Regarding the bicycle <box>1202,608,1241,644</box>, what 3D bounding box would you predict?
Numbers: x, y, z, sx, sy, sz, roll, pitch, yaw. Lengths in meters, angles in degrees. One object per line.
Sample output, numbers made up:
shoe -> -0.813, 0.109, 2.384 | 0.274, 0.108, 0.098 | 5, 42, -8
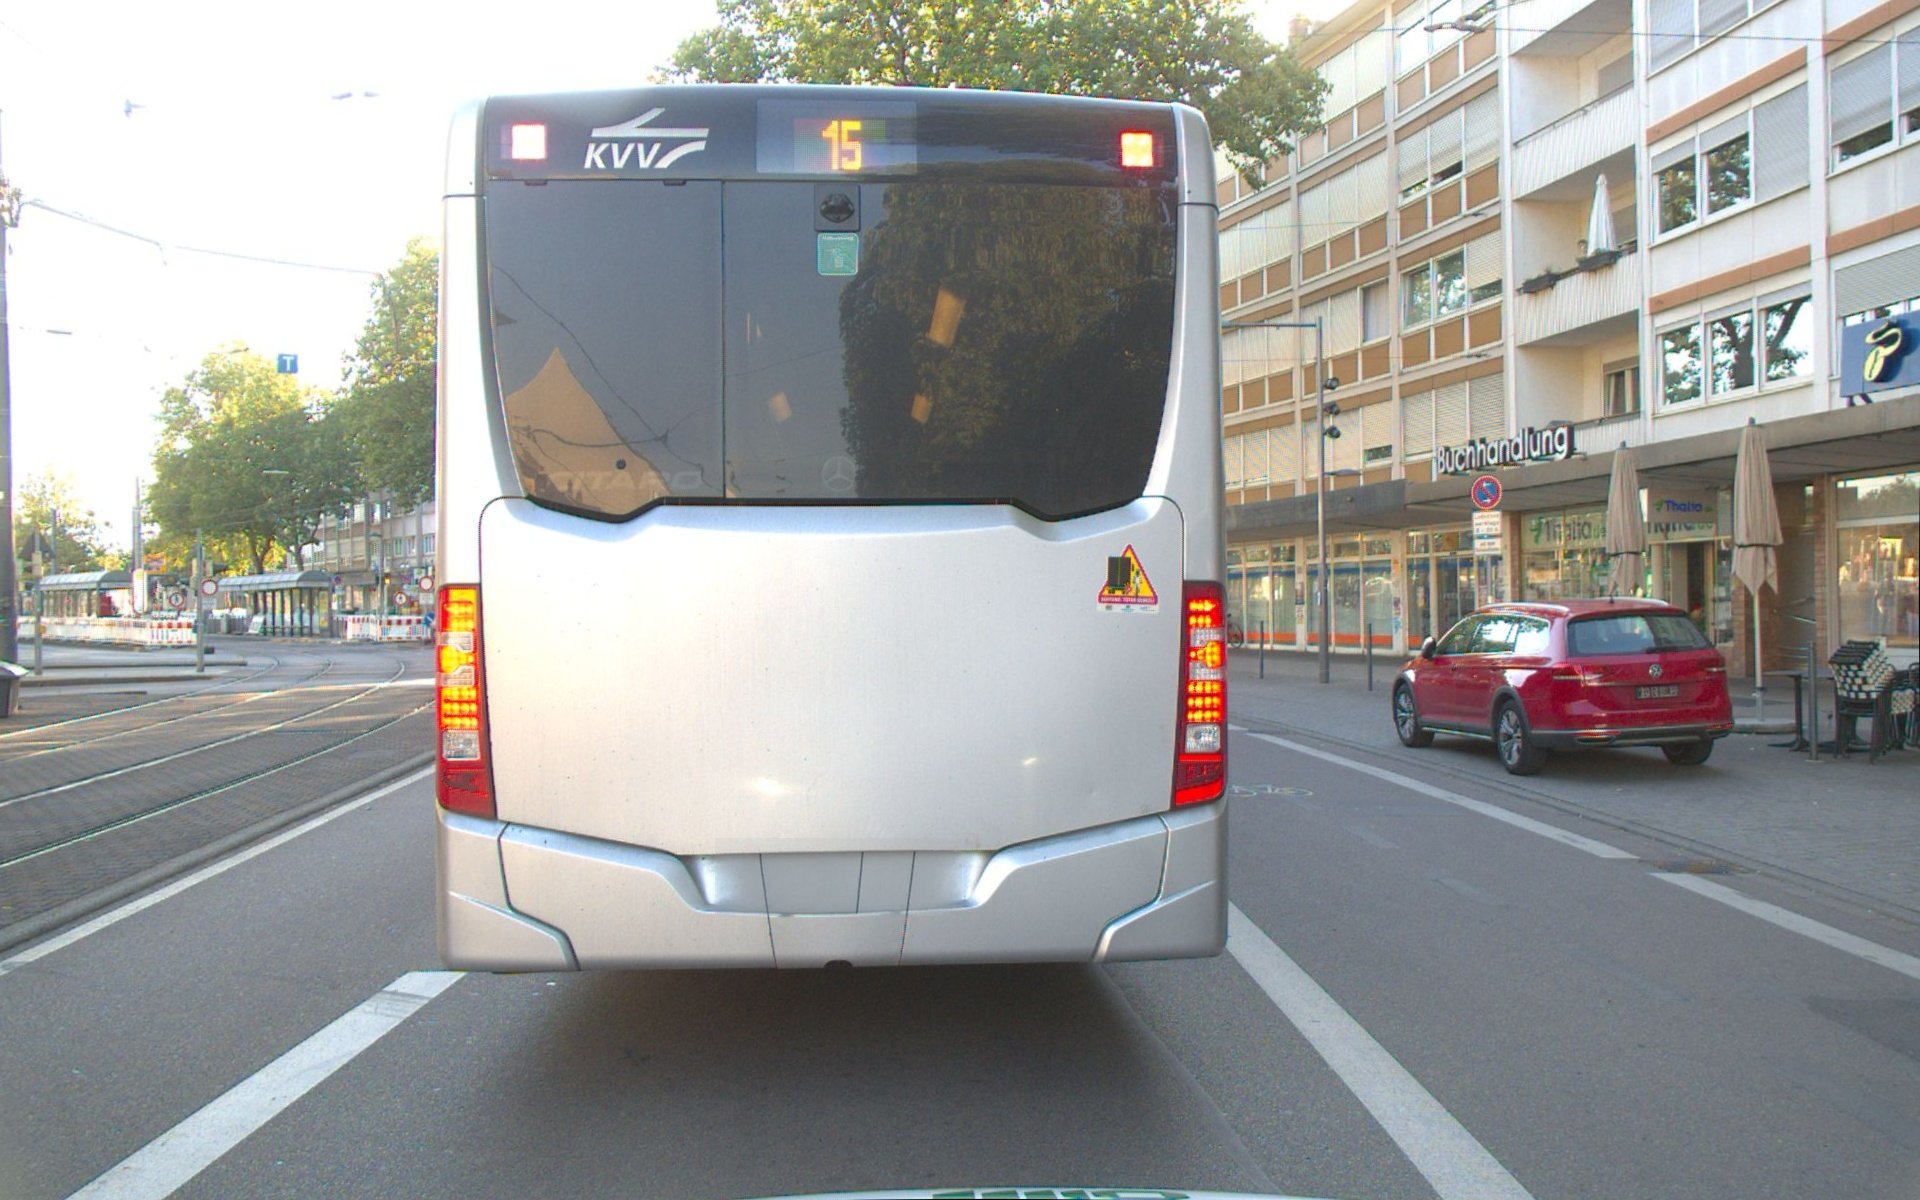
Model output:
bicycle -> 7.216, 0.715, 45.692 | 0.406, 0.961, 1.431 | -1, 0, -20

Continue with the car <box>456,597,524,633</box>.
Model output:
car -> -24.892, 0.792, 87.474 | 1.982, 1.823, 3.940 | 1, -1, -41

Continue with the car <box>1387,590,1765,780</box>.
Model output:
car -> 5.696, 0.706, 15.933 | 1.735, 1.508, 4.299 | -2, 0, -4

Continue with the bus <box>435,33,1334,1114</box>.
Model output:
bus -> -0.413, -0.061, 9.778 | 2.578, 3.081, 9.992 | 0, 0, -3
